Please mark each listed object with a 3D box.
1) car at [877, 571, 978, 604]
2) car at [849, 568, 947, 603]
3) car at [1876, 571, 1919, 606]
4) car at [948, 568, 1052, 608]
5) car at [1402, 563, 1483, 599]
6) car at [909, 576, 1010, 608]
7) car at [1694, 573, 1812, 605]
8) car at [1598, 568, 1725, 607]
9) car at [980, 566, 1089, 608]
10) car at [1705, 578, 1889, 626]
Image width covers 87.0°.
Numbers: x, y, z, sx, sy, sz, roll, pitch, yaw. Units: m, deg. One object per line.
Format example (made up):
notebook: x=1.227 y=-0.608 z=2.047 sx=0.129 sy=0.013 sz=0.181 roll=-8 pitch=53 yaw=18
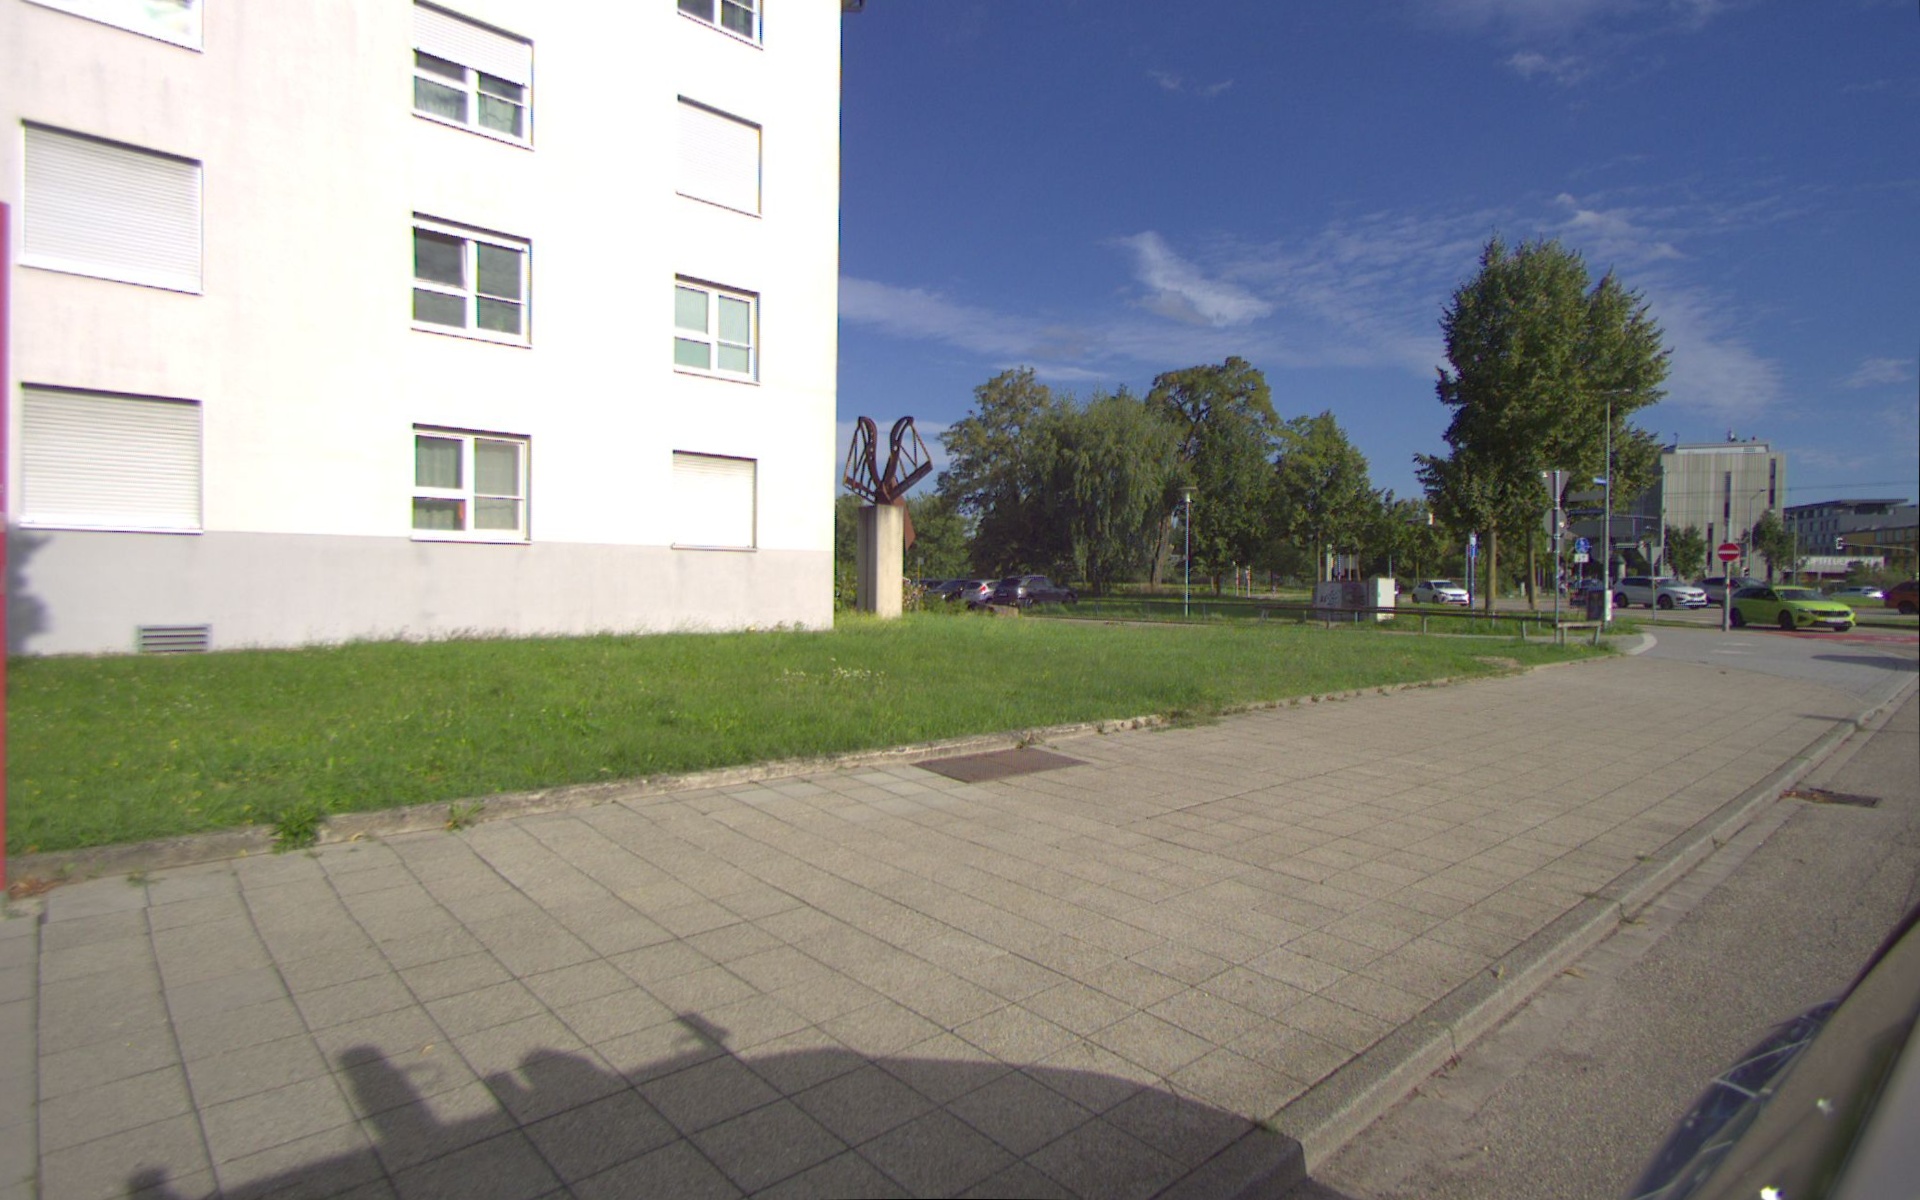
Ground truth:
car: x=-1.638 y=-0.669 z=52.270 sx=4.823 sy=1.616 sz=2.271 roll=-1 pitch=1 yaw=-39
car: x=-3.312 y=-0.808 z=54.519 sx=4.823 sy=1.822 sz=2.358 roll=-1 pitch=1 yaw=-39
car: x=43.013 y=-0.512 z=43.569 sx=2.259 sy=1.543 sz=4.875 roll=-1 pitch=1 yaw=-28
car: x=1.969 y=-0.622 z=48.836 sx=4.705 sy=1.822 sz=2.271 roll=-1 pitch=1 yaw=-39
car: x=26.967 y=-1.065 z=56.827 sx=1.804 sy=1.890 sz=5.407 roll=-1 pitch=1 yaw=-2
car: x=0.002 y=-0.420 z=50.554 sx=4.823 sy=1.518 sz=2.085 roll=-1 pitch=1 yaw=-39
car: x=39.588 y=-0.581 z=50.668 sx=1.958 sy=1.504 sz=4.273 roll=0 pitch=2 yaw=-18
car: x=35.822 y=-0.660 z=51.969 sx=2.433 sy=1.890 sz=6.247 roll=0 pitch=1 yaw=4
car: x=3.463 y=-0.622 z=46.512 sx=4.825 sy=1.822 sz=2.270 roll=-1 pitch=1 yaw=-40
car: x=28.182 y=-0.005 z=34.419 sx=2.008 sy=1.487 sz=5.975 roll=0 pitch=1 yaw=8
